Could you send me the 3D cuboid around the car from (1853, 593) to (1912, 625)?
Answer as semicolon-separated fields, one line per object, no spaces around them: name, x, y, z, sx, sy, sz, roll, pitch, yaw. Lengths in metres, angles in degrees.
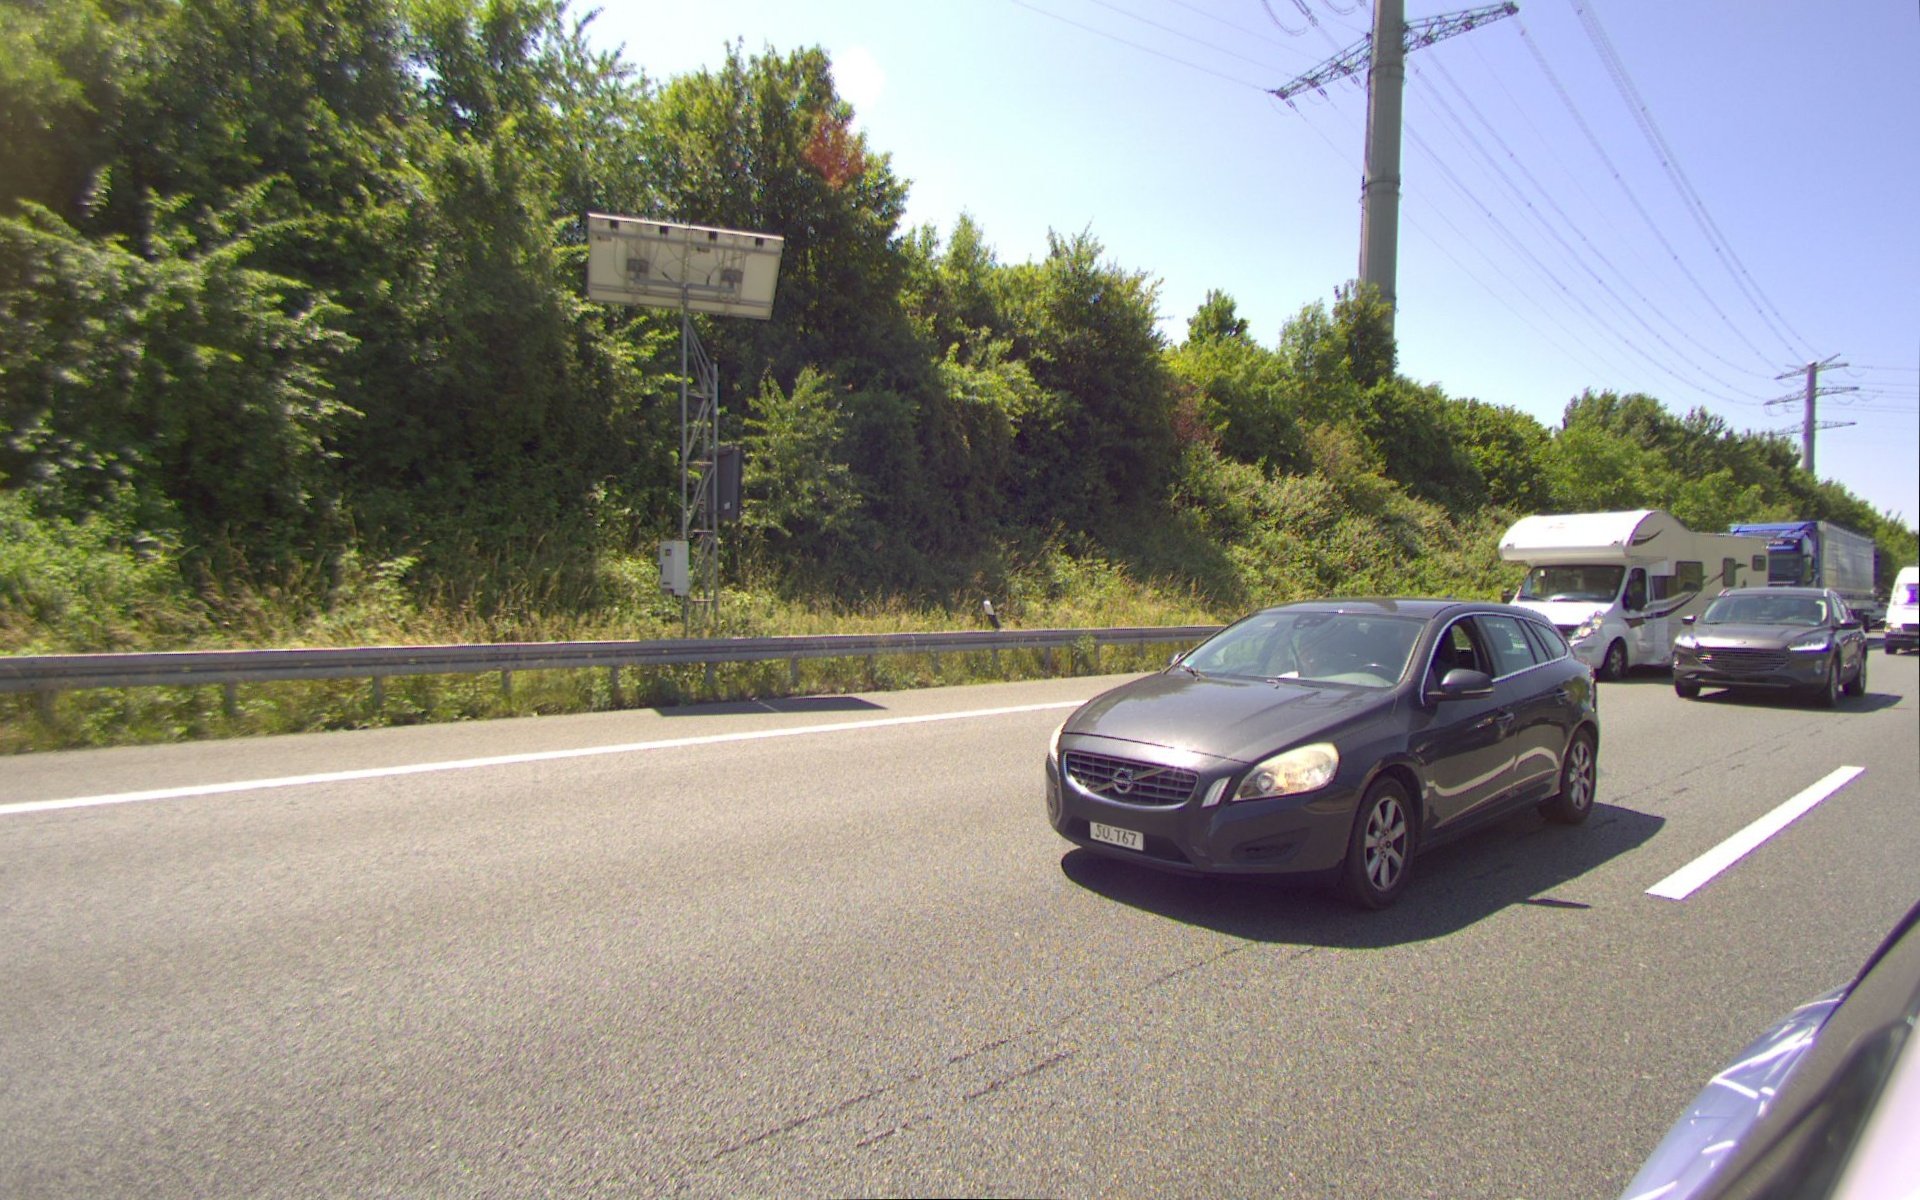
car;46.166;0.408;50.636;3.805;1.538;1.719;-1;0;-40

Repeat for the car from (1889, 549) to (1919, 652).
car;28.571;-0.017;29.073;6.589;2.753;2.041;-1;0;-41

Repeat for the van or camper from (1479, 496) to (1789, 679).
van or camper;13.539;-0.246;20.086;7.484;3.082;2.377;-1;0;-33

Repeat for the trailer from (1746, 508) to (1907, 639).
trailer;33.175;-0.934;38.464;12.653;4.317;2.772;-1;0;-41

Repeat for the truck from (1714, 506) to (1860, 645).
truck;27.383;-0.780;33.432;5.538;4.197;2.790;0;0;-41

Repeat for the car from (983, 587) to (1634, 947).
car;2.377;0.646;6.193;4.431;1.437;1.798;-1;0;-41

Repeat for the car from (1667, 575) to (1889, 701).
car;12.362;0.473;15.210;4.146;1.631;1.892;-1;0;-41
